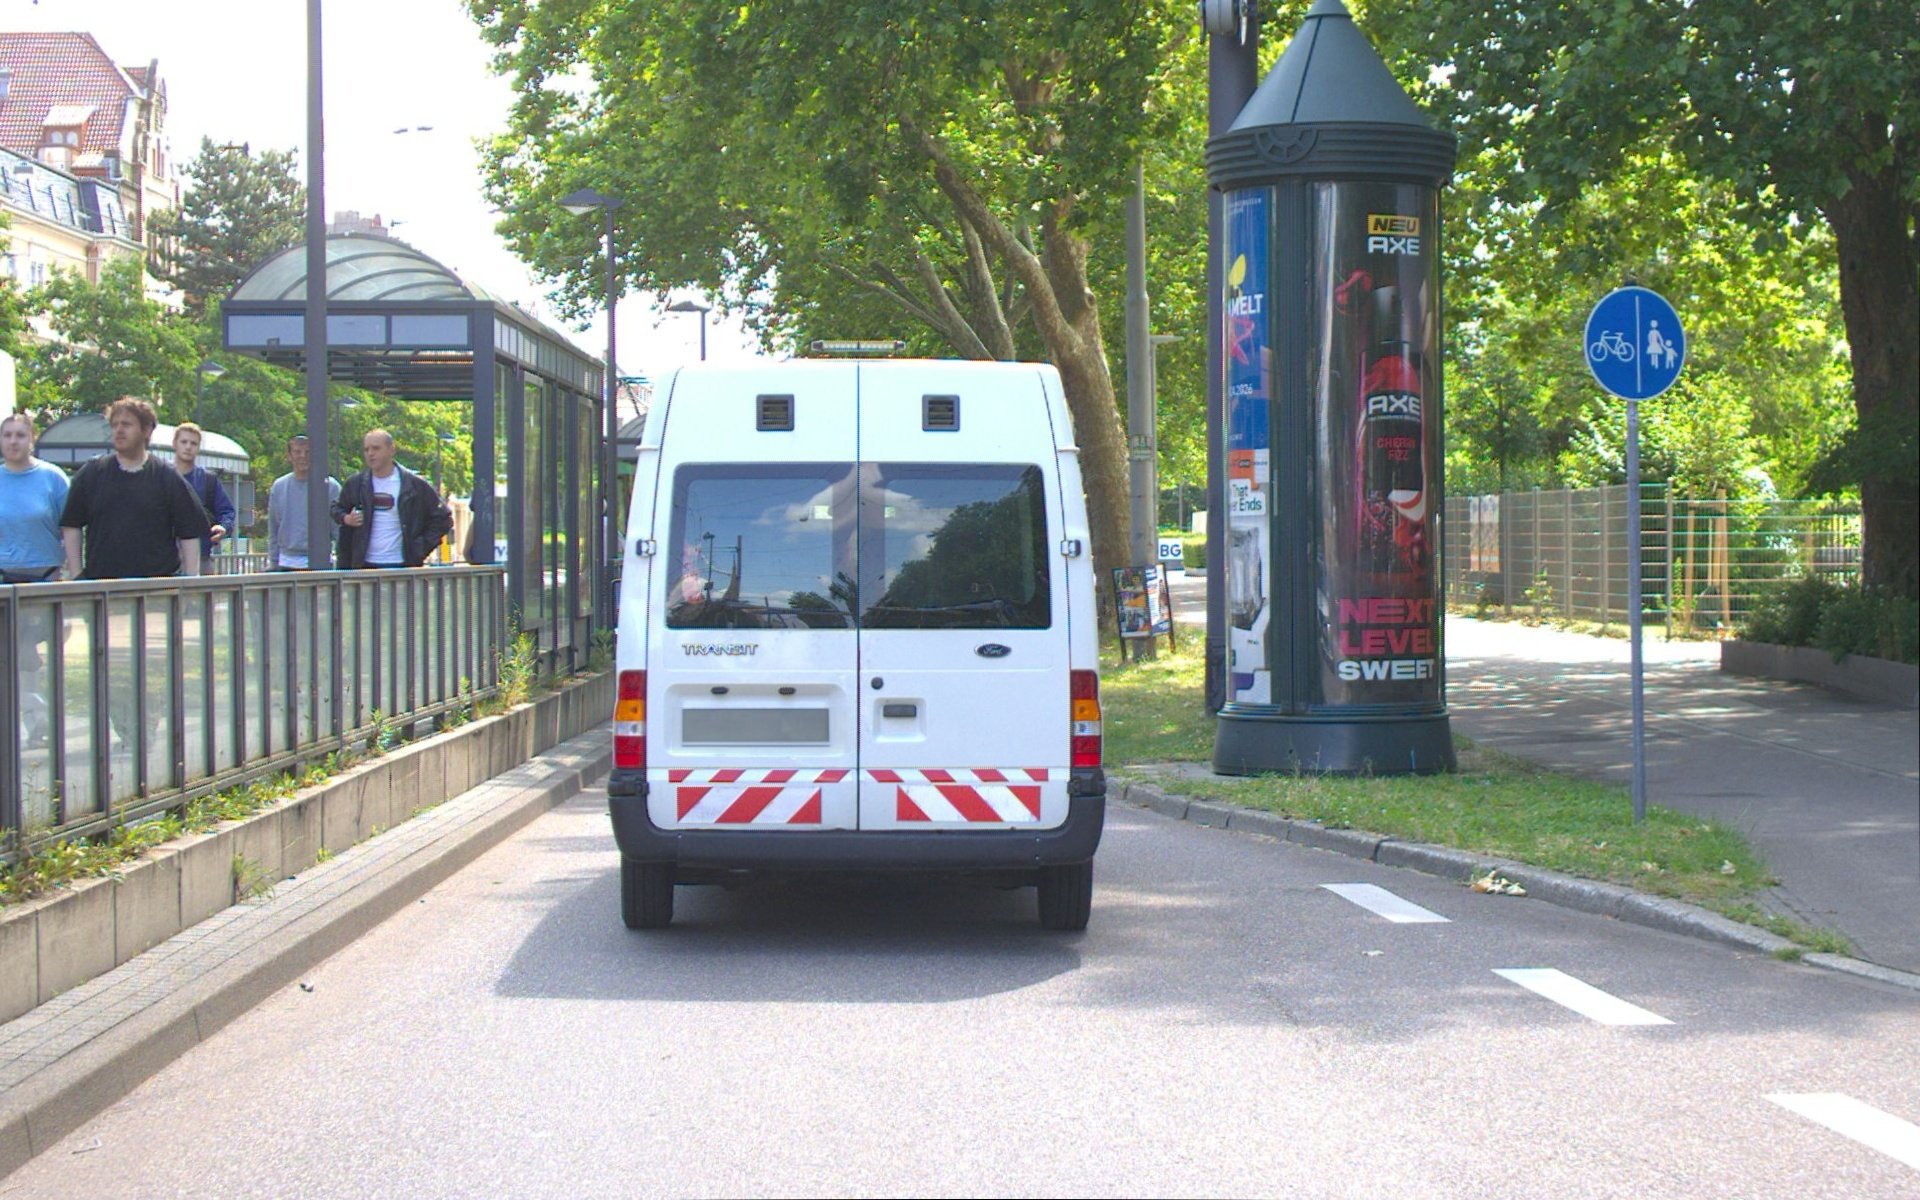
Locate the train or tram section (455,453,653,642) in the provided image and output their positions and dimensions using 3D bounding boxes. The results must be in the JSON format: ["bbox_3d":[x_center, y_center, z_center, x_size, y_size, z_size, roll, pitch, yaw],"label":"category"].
[{"bbox_3d":[-8.251,-1.113,71.427,2.723,3.572,13.017,0,1,-1],"label":"train or tram section"}]

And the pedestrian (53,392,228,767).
[{"bbox_3d":[-4.119,-0.106,17.325,0.701,1.843,0.789,0,1,-1],"label":"pedestrian"}]

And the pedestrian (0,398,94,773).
[{"bbox_3d":[-4.834,-0.077,17.354,0.701,1.843,0.908,0,1,-1],"label":"pedestrian"}]

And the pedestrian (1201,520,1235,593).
[{"bbox_3d":[5.748,-0.968,76.729,0.693,1.620,0.637,0,1,-1],"label":"pedestrian"}]

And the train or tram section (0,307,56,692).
[{"bbox_3d":[-10.211,-0.849,27.435,2.723,3.572,13.017,0,1,-1],"label":"train or tram section"}]

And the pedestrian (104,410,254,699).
[{"bbox_3d":[-4.970,-0.296,21.940,0.712,1.794,1.132,0,1,-1],"label":"pedestrian"}]

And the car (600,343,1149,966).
[{"bbox_3d":[-0.354,0.152,15.300,2.047,2.325,4.715,-1,1,-1],"label":"car"}]

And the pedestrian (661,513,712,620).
[{"bbox_3d":[-3.886,-0.483,48.859,0.675,1.510,0.596,-1,1,-1],"label":"pedestrian"}]

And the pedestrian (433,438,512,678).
[{"bbox_3d":[-3.889,-0.339,27.426,0.470,1.894,0.537,-1,1,-25],"label":"pedestrian"}]

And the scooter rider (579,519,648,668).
[{"bbox_3d":[-3.702,-0.079,36.755,0.654,1.565,0.901,0,1,-1],"label":"scooter rider"}]

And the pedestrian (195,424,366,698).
[{"bbox_3d":[-4.588,-0.270,23.305,0.886,1.794,1.495,0,1,-1],"label":"pedestrian"}]

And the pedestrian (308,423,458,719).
[{"bbox_3d":[-3.717,-0.190,22.221,0.810,1.866,1.031,0,1,-1],"label":"pedestrian"}]
